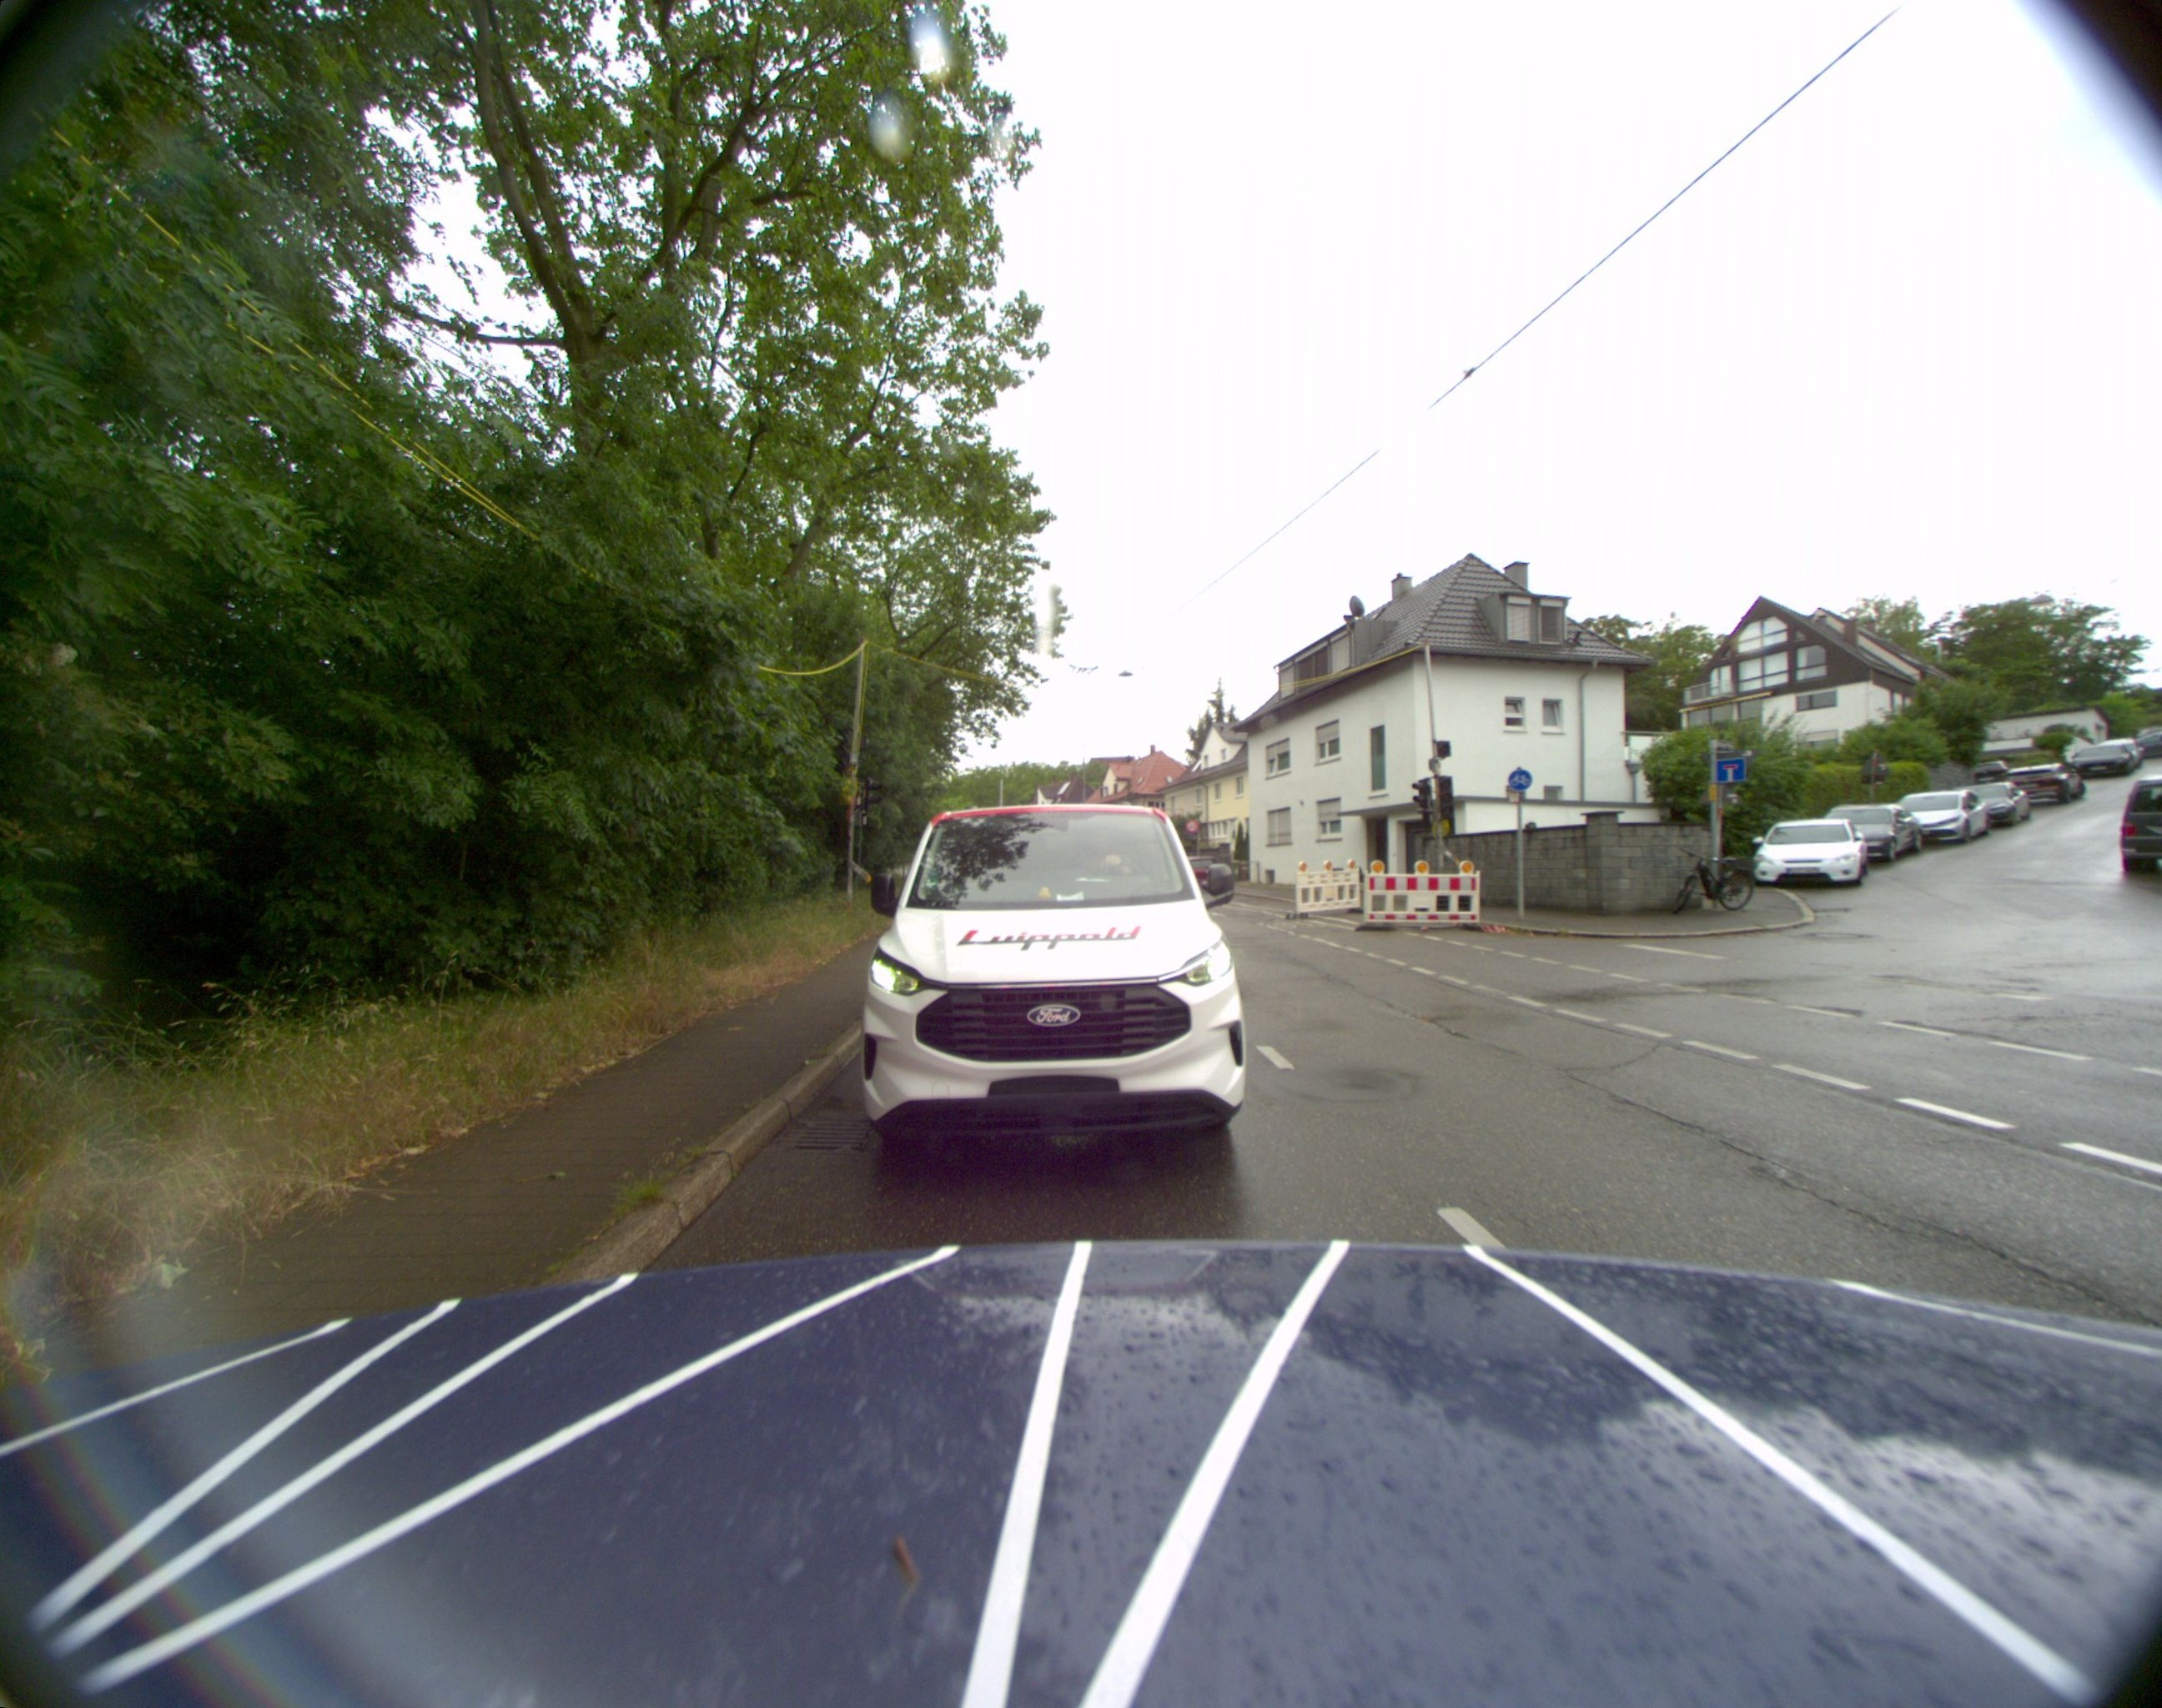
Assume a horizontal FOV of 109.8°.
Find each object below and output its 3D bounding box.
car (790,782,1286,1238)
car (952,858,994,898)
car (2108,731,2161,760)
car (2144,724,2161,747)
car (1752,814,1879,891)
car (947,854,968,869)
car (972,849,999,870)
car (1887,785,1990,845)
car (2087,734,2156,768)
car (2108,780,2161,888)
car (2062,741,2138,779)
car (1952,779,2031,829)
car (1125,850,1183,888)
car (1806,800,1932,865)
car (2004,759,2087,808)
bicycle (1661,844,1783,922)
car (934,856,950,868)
[{"bbox_3d":[-0.145,0.643,5.842,2.045,1.883,5.208,-2,1,1],"label":"car"},{"bbox_3d":[-4.812,1.083,34.044,1.670,1.579,4.004,-3,-2,-8],"label":"car"},{"bbox_3d":[68.141,-6.959,48.098,1.582,1.492,3.607,-10,4,-34],"label":"car"},{"bbox_3d":[81.259,-8.937,55.758,1.624,1.492,3.514,-9,3,-24],"label":"car"},{"bbox_3d":[17.654,-0.058,18.223,3.566,1.458,1.746,-7,2,-40],"label":"car"},{"bbox_3d":[-15.338,0.905,94.052,2.001,1.850,4.354,-2,1,-17],"label":"car"},{"bbox_3d":[-9.625,0.508,76.099,2.001,2.002,3.994,-2,1,-17],"label":"car"},{"bbox_3d":[27.220,-1.252,24.091,3.859,1.458,1.579,-8,4,-32],"label":"car"},{"bbox_3d":[60.837,-6.033,44.426,3.834,1.492,1.733,-9,3,-26],"label":"car"},{"bbox_3d":[23.529,-0.515,15.993,3.801,1.926,1.911,-9,3,-31],"label":"car"},{"bbox_3d":[54.571,-5.050,40.685,3.834,1.492,1.733,-9,3,-26],"label":"car"},{"bbox_3d":[32.127,-1.775,26.800,3.508,1.383,1.333,-8,4,-32],"label":"car"},{"bbox_3d":[3.275,0.698,34.820,1.670,1.579,4.004,-3,-2,-8],"label":"car"},{"bbox_3d":[22.429,-0.631,21.604,3.859,1.458,1.700,-7,2,-32],"label":"car"},{"bbox_3d":[40.533,-2.964,31.922,3.988,1.547,1.333,-9,3,-26],"label":"car"},{"bbox_3d":[11.721,0.511,13.922,1.732,1.304,0.707,-2,1,-7],"label":"bicycle"},{"bbox_3d":[-18.876,1.059,102.999,1.767,1.519,3.585,-2,1,-17],"label":"car"}]
